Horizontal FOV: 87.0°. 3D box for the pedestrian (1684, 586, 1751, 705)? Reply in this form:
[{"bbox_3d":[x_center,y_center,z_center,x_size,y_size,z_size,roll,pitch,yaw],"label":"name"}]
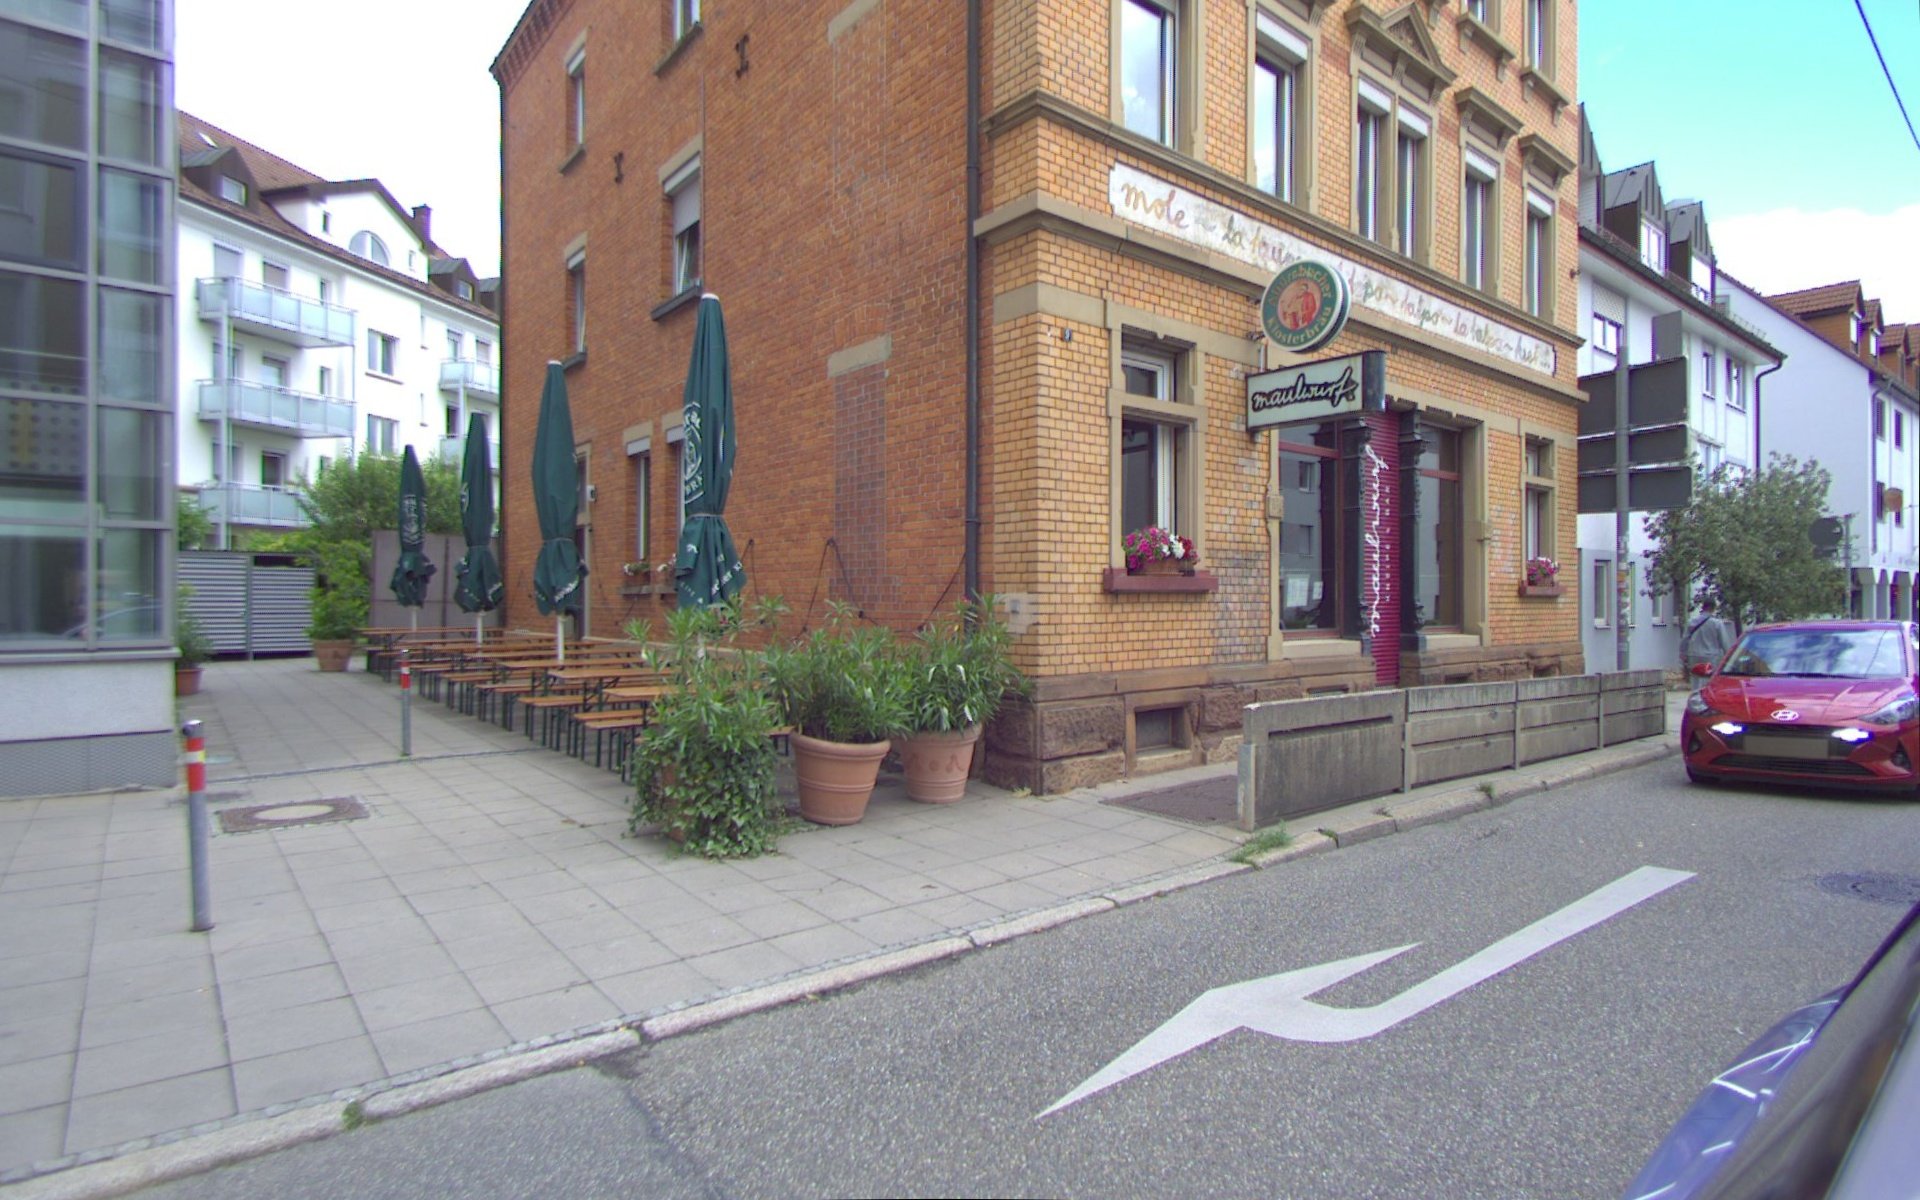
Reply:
[{"bbox_3d":[11.476,0.661,15.333,0.638,1.753,0.689,1,0,-41],"label":"pedestrian"}]

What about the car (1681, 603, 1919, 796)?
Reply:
[{"bbox_3d":[8.388,0.790,9.539,3.930,1.471,1.700,0,-2,-41],"label":"car"}]
